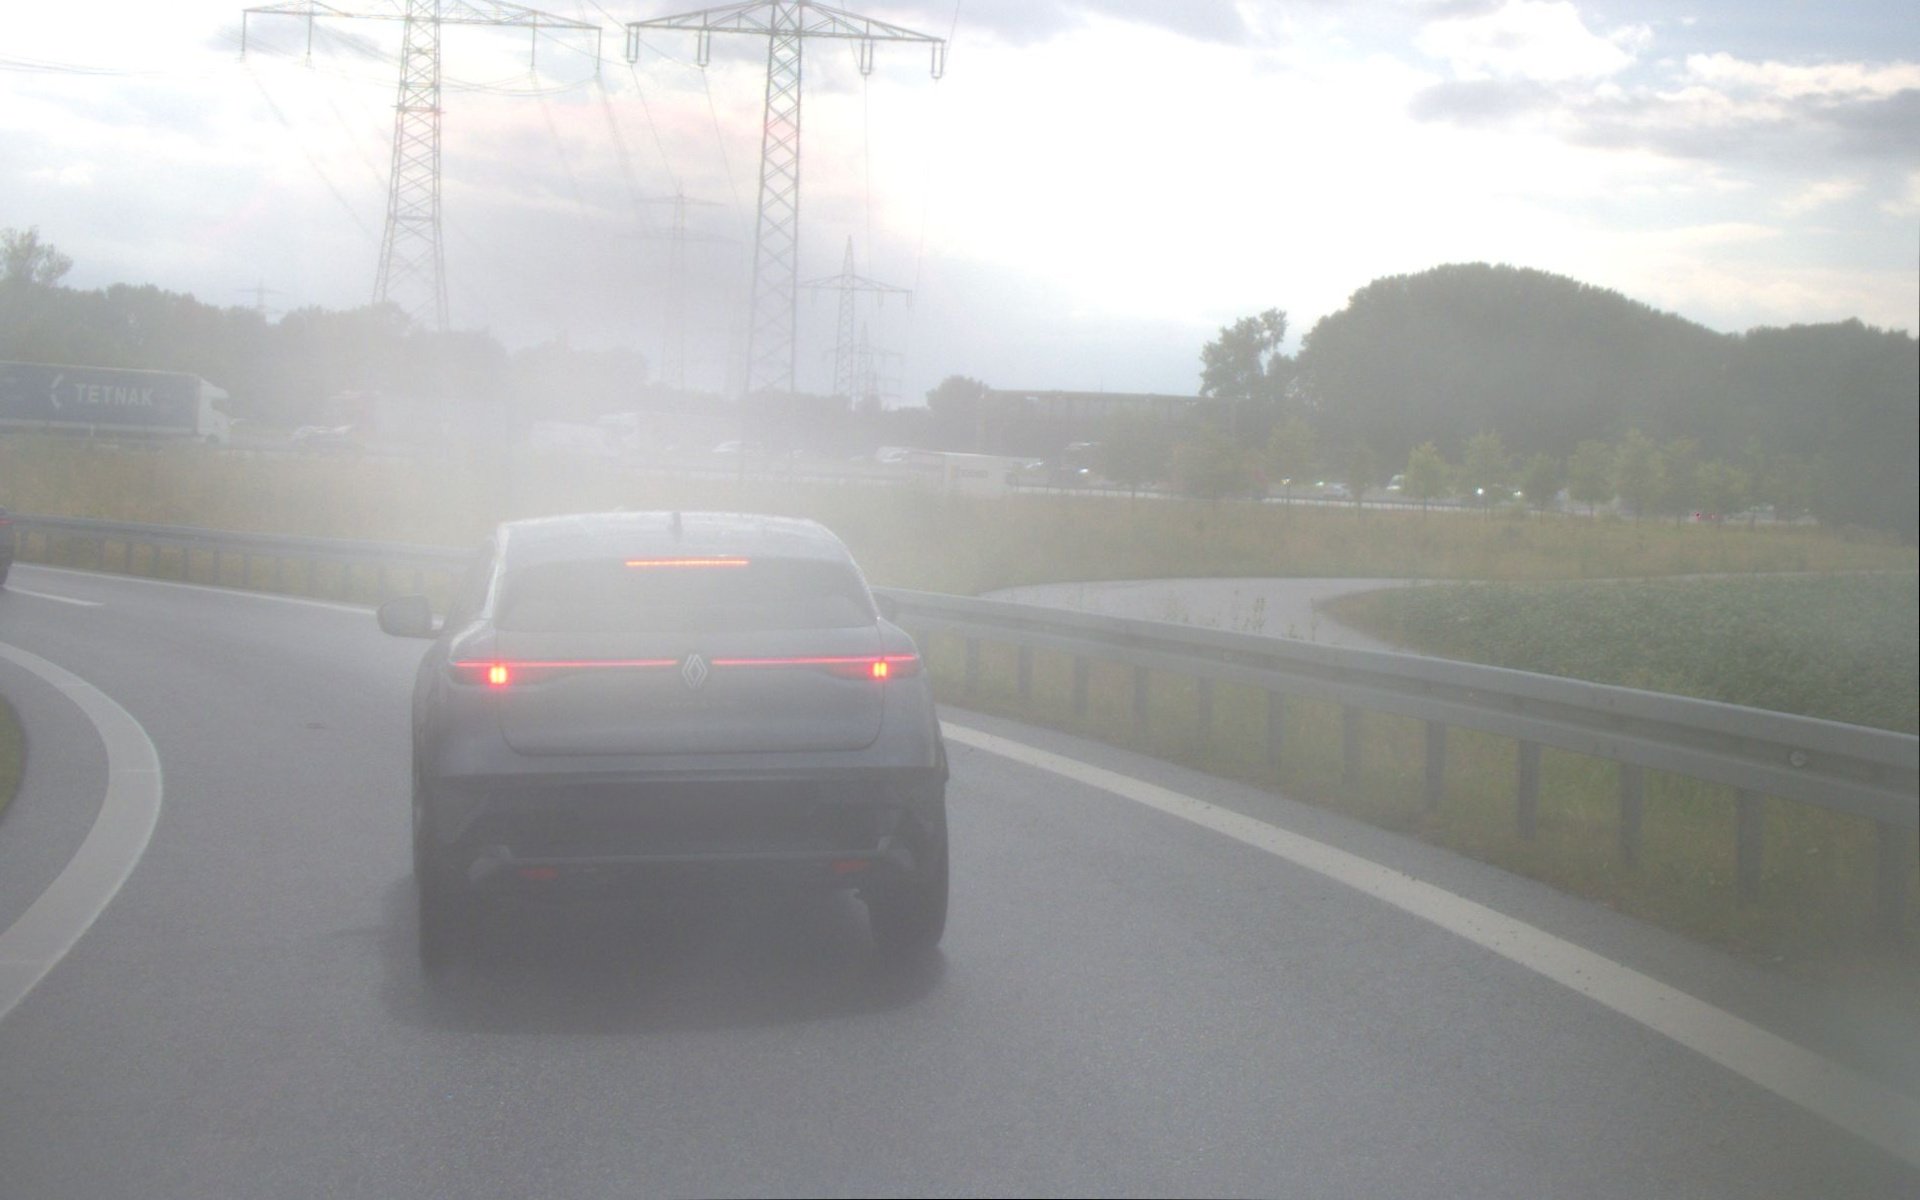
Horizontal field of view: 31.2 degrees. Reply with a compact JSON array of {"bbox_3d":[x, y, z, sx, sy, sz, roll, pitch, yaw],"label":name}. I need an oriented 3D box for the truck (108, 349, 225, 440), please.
[{"bbox_3d":[-40.780,-10.563,176.754,3.074,4.463,5.064,5,5,31],"label":"truck"}]

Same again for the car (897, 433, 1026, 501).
[{"bbox_3d":[0.132,-7.922,205.065,3.389,3.598,9.029,4,2,31],"label":"car"}]

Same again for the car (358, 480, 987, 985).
[{"bbox_3d":[-1.198,0.348,13.136,1.993,1.561,4.150,-1,2,-8],"label":"car"}]

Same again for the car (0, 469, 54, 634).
[{"bbox_3d":[-13.764,-0.780,45.982,2.120,2.011,5.536,3,2,-25],"label":"car"}]

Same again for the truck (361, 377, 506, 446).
[{"bbox_3d":[-36.236,-12.992,237.389,1.997,4.109,12.474,4,2,32],"label":"truck"}]

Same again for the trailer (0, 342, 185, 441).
[{"bbox_3d":[-44.367,-10.334,170.743,3.053,4.619,13.281,5,5,30],"label":"trailer"}]
